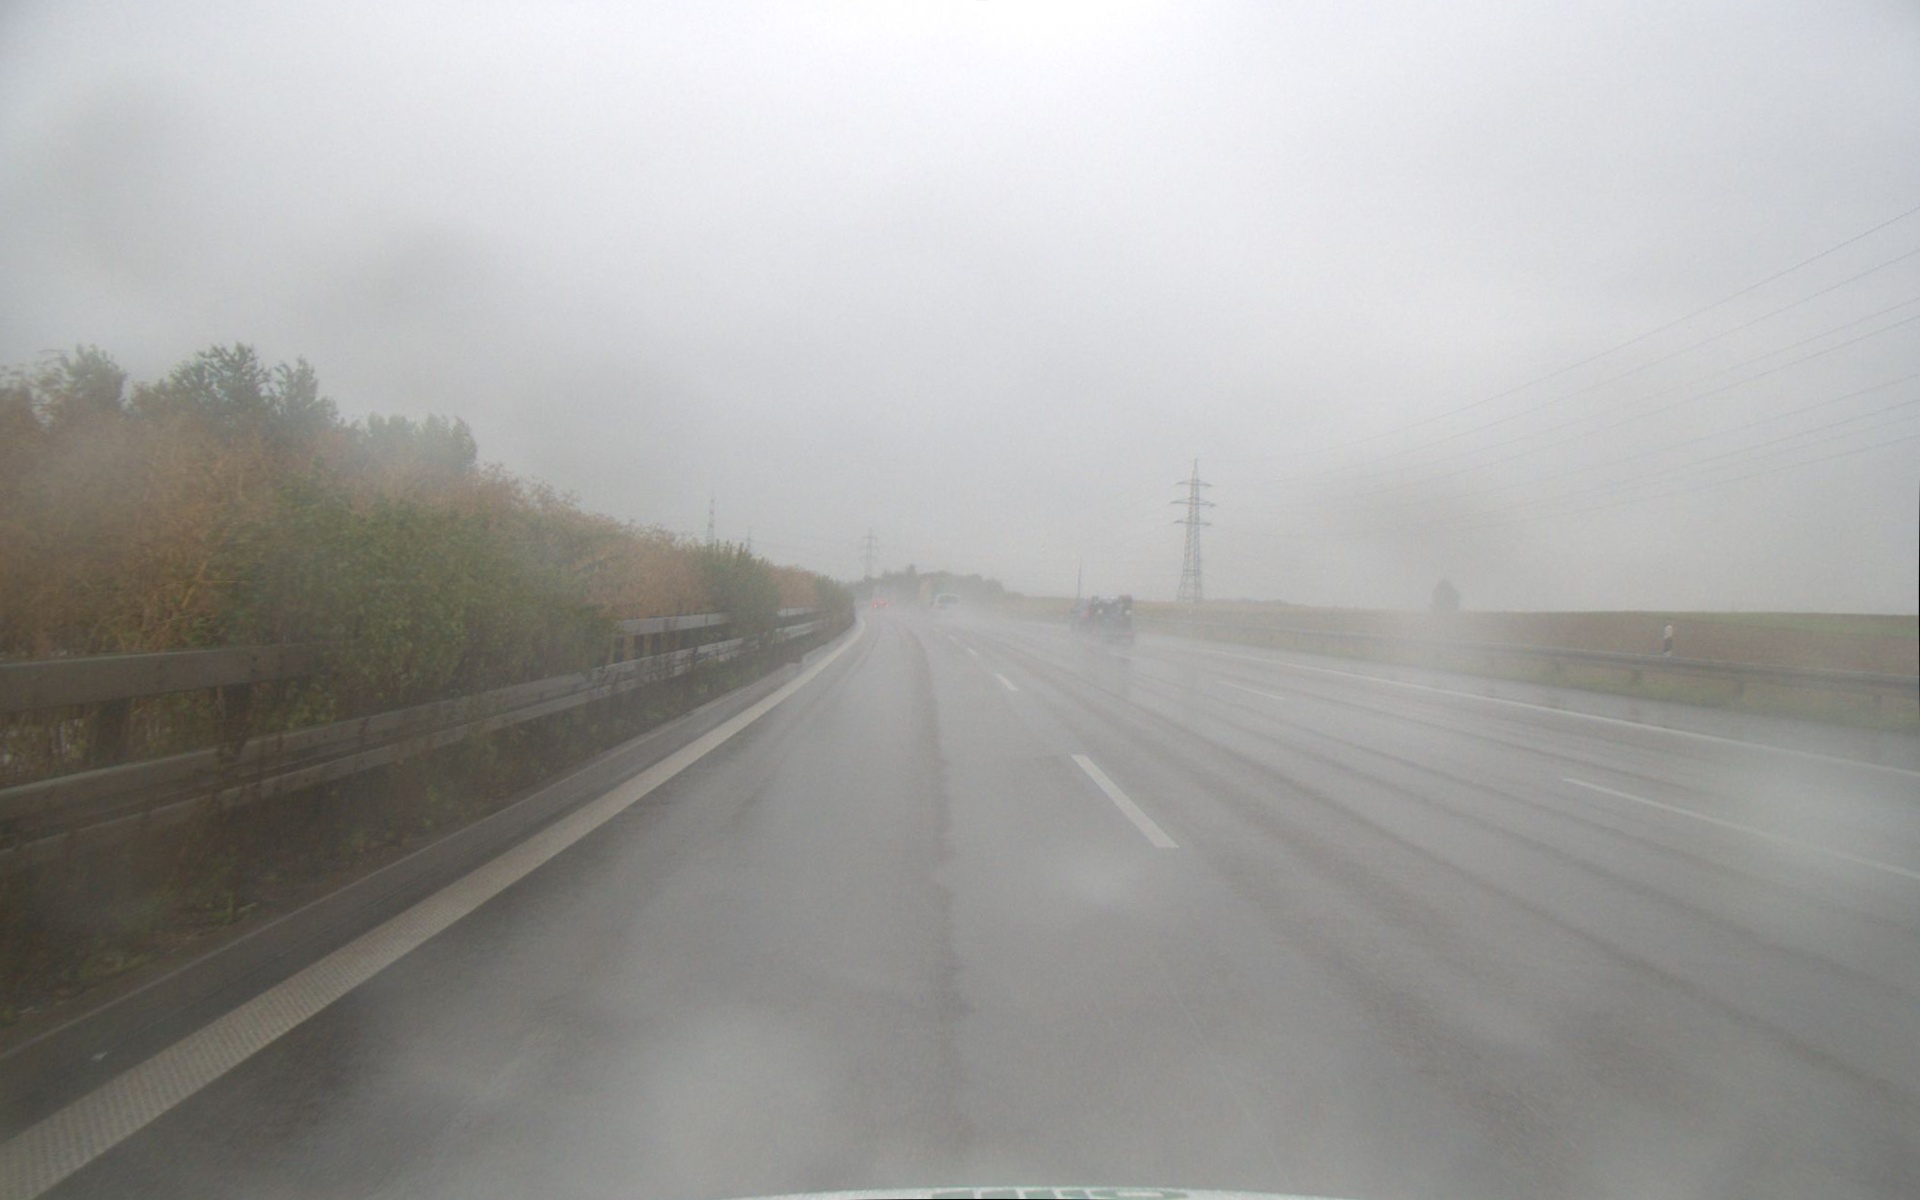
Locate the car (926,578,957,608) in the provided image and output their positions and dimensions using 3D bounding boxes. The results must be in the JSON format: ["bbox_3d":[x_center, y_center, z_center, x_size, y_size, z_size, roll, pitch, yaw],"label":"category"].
[{"bbox_3d":[-2.125,-0.772,184.991,3.136,3.248,7.253,1,0,-2],"label":"car"}]

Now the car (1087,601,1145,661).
[{"bbox_3d":[5.998,1.154,63.842,1.770,2.196,3.999,1,0,-1],"label":"car"}]

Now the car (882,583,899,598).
[{"bbox_3d":[-10.803,-1.469,257.232,2.506,2.288,5.349,1,0,-3],"label":"car"}]
